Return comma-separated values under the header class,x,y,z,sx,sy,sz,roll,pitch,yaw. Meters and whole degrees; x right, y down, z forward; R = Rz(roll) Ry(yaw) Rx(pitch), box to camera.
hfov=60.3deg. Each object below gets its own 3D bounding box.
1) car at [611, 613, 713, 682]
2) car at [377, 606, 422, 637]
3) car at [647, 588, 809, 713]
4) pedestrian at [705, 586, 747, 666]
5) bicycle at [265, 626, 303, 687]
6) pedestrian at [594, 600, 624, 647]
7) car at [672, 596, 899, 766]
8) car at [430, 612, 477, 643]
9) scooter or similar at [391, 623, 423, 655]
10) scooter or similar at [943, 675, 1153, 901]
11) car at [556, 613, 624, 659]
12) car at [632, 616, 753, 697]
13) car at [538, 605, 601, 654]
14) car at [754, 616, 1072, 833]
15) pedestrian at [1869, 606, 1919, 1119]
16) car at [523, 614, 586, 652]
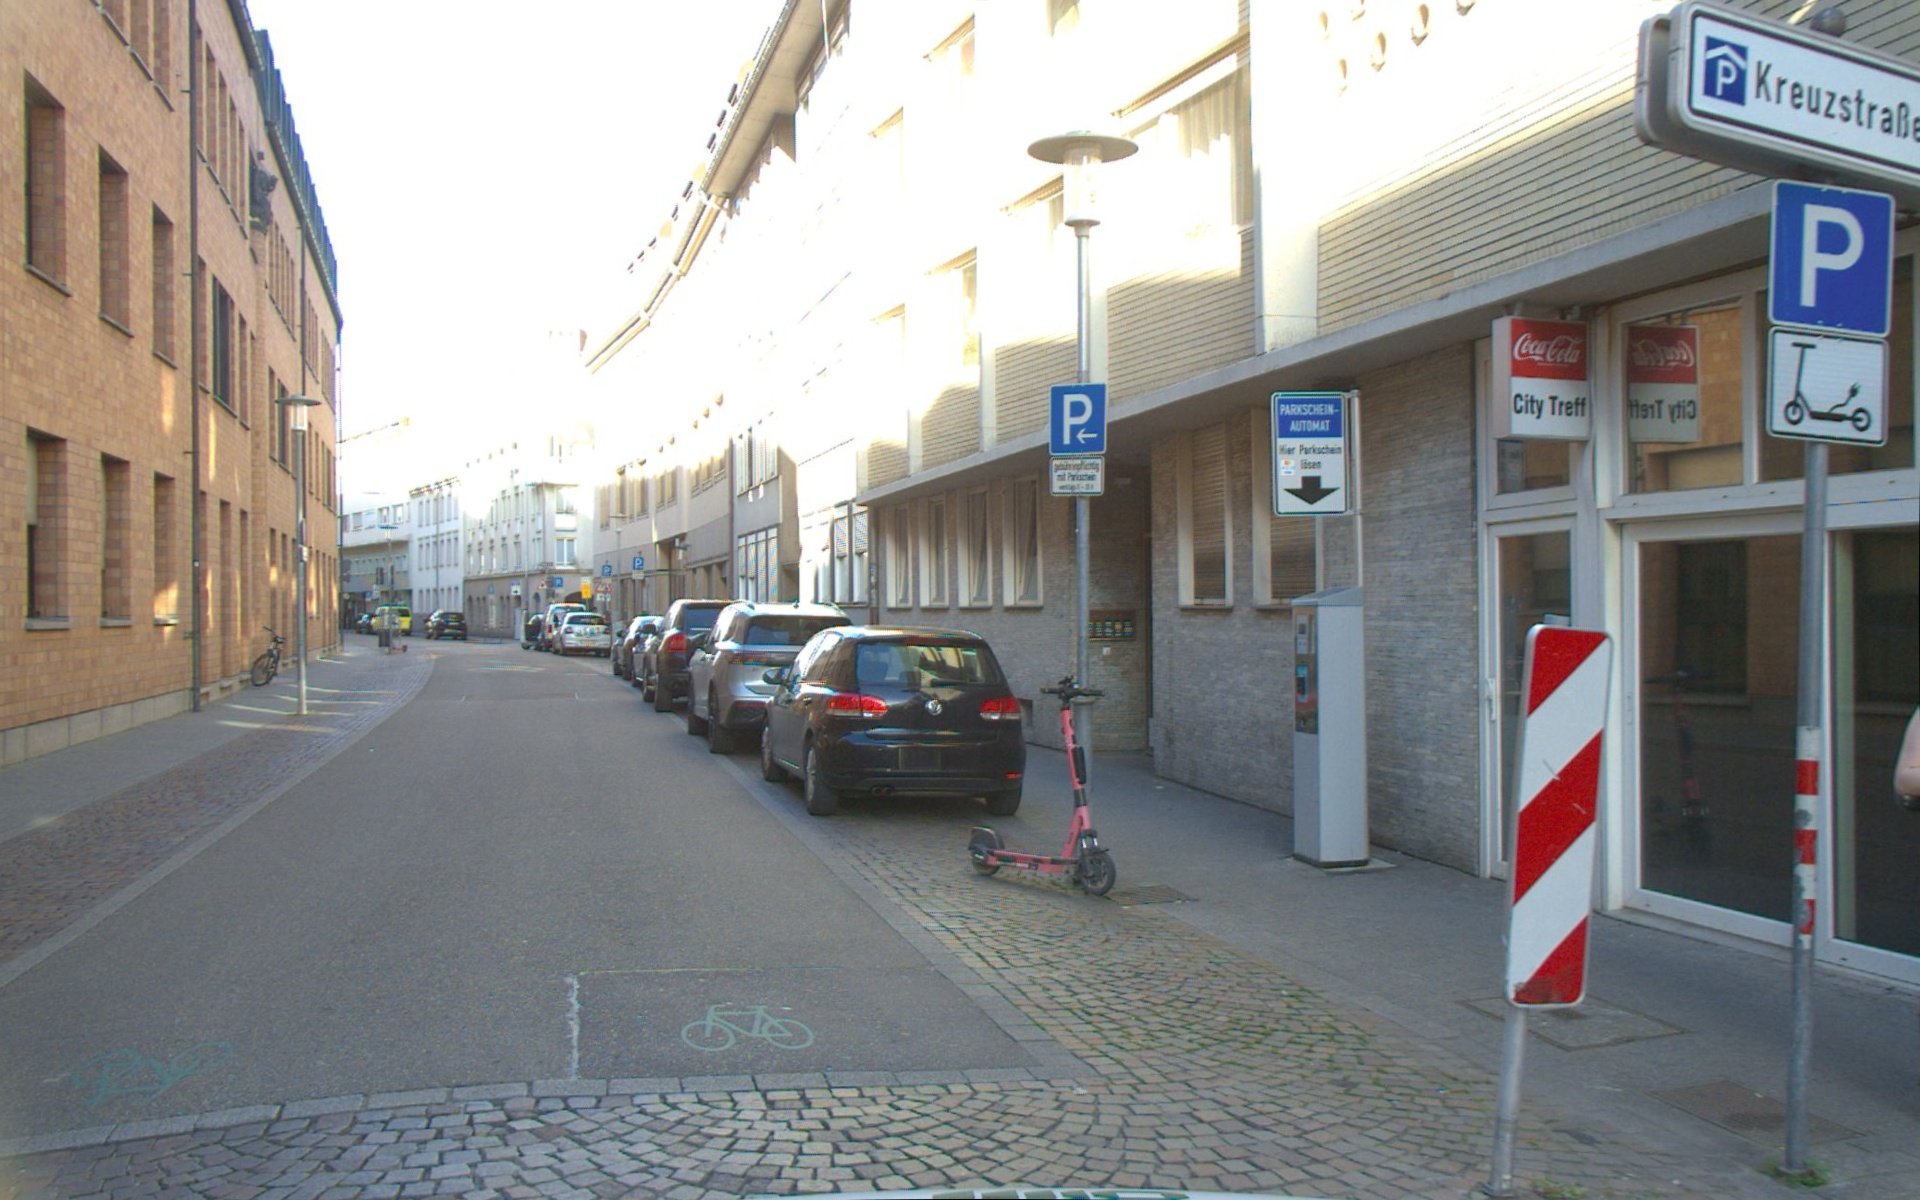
class,x,y,z,sx,sy,sz,roll,pitch,yaw
car,-7.024,1.054,38.591,1.863,1.478,5.203,1,-1,-15
car,-37.881,1.467,111.691,2.033,2.049,4.129,0,0,-32
car,-3.873,0.764,26.843,2.068,1.817,5.032,1,-1,-14
pedestrian,-5.211,0.573,36.855,0.776,1.751,0.743,-2,0,-15
bicycle,-14.110,1.168,34.493,0.623,1.183,1.790,3,-1,-24
pedestrian,-13.860,0.937,65.258,1.027,1.833,1.192,0,-1,-20
car,-2.215,0.874,19.650,1.960,1.732,4.824,2,-1,-15
car,-29.823,1.600,97.310,1.945,1.722,4.065,1,-1,-27
scooter or similar,-22.218,1.565,66.495,0.683,1.239,1.358,-1,0,8
scooter or similar,0.506,1.084,9.907,0.490,1.215,1.286,0,-1,-43
car,-13.170,1.264,58.680,1.813,1.504,4.143,2,-1,-20
car,-5.372,1.073,32.815,1.778,1.437,4.768,2,-1,-16
car,-15.291,1.146,64.582,1.803,1.822,5.183,1,-1,-20
car,-0.603,0.958,14.497,1.792,1.531,4.582,3,-1,-14
pedestrian,3.203,0.797,5.033,0.561,1.567,0.440,-3,0,-6
car,-17.230,1.383,70.162,1.864,1.545,4.031,1,-1,-24
